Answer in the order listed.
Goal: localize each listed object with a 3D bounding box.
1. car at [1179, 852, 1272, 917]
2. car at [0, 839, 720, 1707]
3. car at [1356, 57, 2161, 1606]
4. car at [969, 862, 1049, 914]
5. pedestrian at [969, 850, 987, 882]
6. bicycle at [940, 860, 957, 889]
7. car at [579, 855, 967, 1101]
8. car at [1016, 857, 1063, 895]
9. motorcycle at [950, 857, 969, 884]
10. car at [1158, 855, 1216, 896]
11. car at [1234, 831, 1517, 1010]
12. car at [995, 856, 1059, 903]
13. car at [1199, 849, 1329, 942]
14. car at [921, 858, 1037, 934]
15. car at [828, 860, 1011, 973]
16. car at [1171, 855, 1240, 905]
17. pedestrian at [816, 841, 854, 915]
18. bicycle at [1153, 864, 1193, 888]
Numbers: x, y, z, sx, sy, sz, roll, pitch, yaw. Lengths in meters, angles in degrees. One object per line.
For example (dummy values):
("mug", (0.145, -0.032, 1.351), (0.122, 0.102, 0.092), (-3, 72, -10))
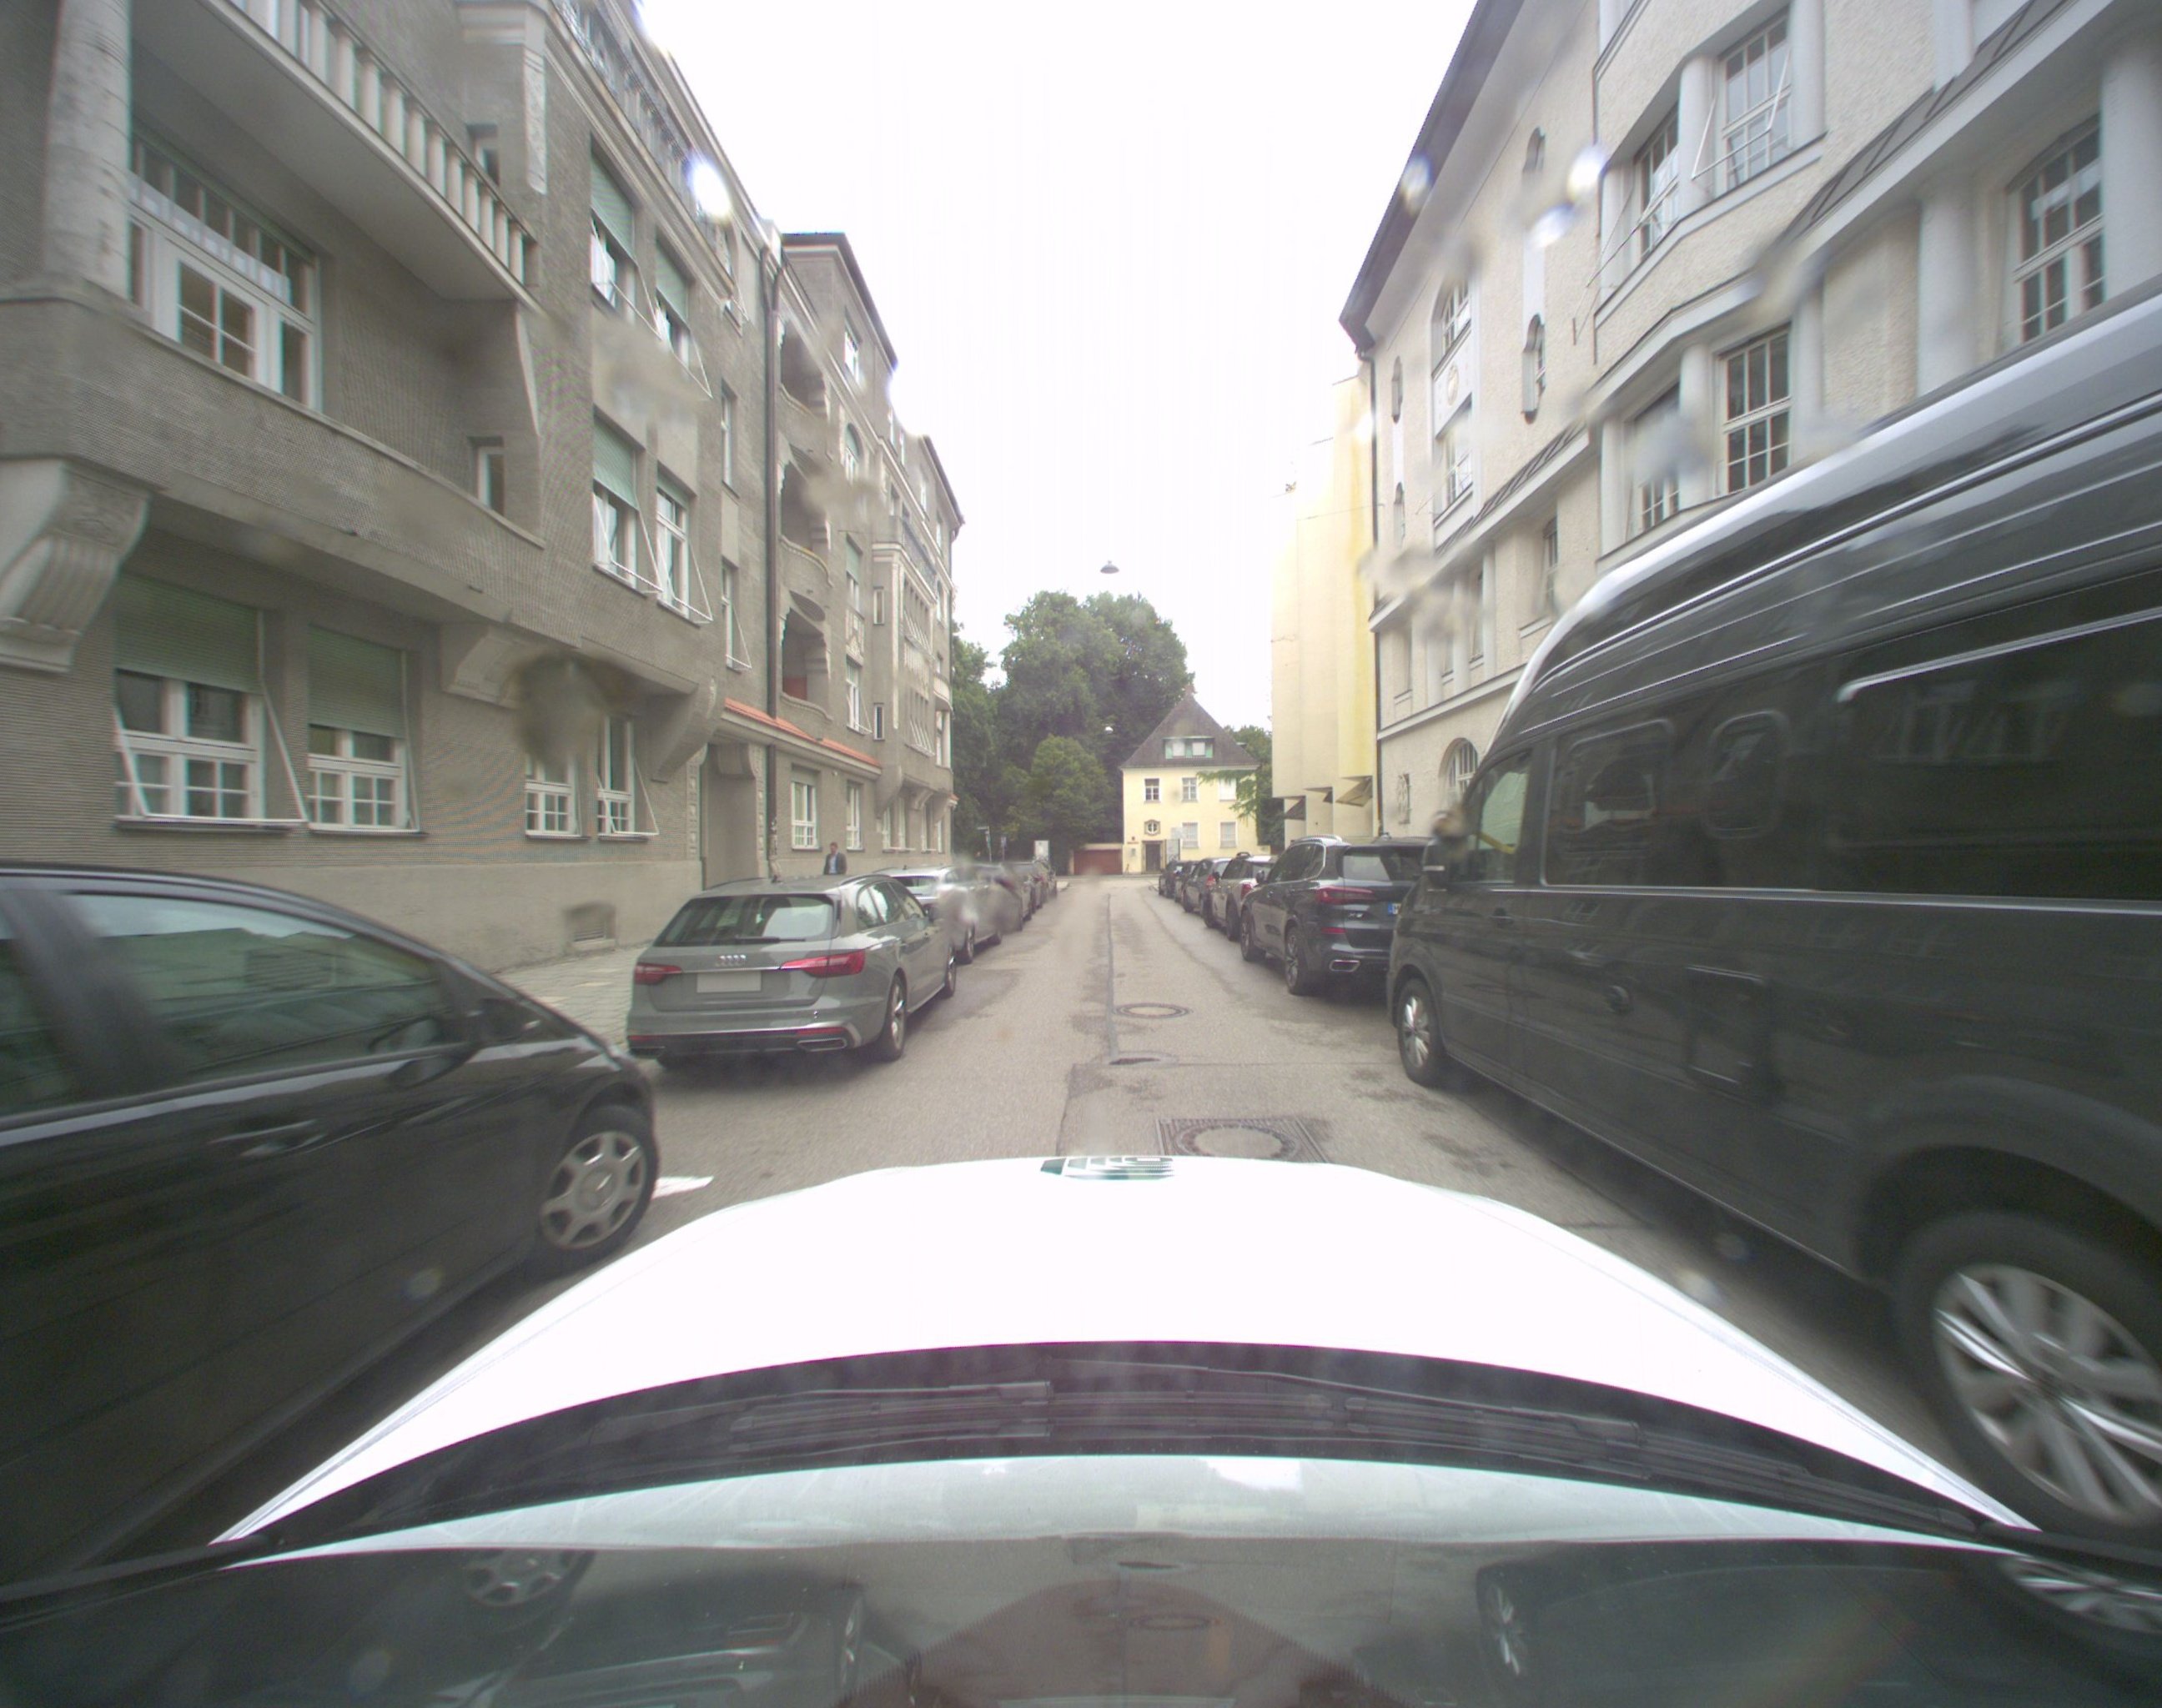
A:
("car", (3.703, 0.736, 21.481), (1.630, 1.537, 3.852), (0, 0, -2))
("car", (-2.570, 0.772, 1.965), (1.798, 1.572, 3.810), (0, 0, -2))
("car", (3.236, -0.009, 3.402), (2.246, 2.960, 6.133), (0, -1, 1))
("car", (-2.018, 0.947, 23.917), (1.748, 1.331, 4.099), (-1, 0, 3))
("pedestrian", (-5.882, 0.693, 46.529), (0.835, 1.787, 0.937), (0, 0, 4))
("bicycle", (-6.366, 0.957, 39.261), (0.617, 1.349, 1.673), (0, 0, -3))
("car", (-2.269, 0.784, 7.467), (1.832, 1.513, 4.606), (-1, 0, -1))
("car", (-1.704, 0.895, 34.371), (1.697, 1.515, 2.913), (-1, 0, 2))
("motorcycle", (-6.793, 0.910, 45.759), (0.733, 1.441, 2.147), (0, 0, 0))
("car", (4.084, 0.793, 32.065), (1.687, 1.471, 4.610), (0, 0, 0))
("car", (3.246, 0.634, 10.105), (1.986, 1.689, 4.677), (0, 0, 2))
("car", (-1.857, 0.867, 29.279), (1.748, 1.515, 4.711), (-1, 0, 3))
("car", (3.445, 0.717, 16.029), (1.629, 1.592, 3.967), (0, 0, -1))
("car", (-2.161, 0.851, 18.634), (1.987, 1.448, 4.778), (-1, 0, 0))
("car", (-2.380, 0.866, 13.224), (1.798, 1.431, 4.443), (-2, 0, 3))
("car", (3.945, 0.792, 26.362), (1.629, 1.471, 3.854), (0, 0, 0))
("pedestrian", (-6.173, 0.600, 20.478), (0.714, 1.817, 0.731), (0, -1, 1))
("bicycle", (4.437, 1.067, 39.390), (1.774, 1.085, 0.670), (-2, 1, 28))
